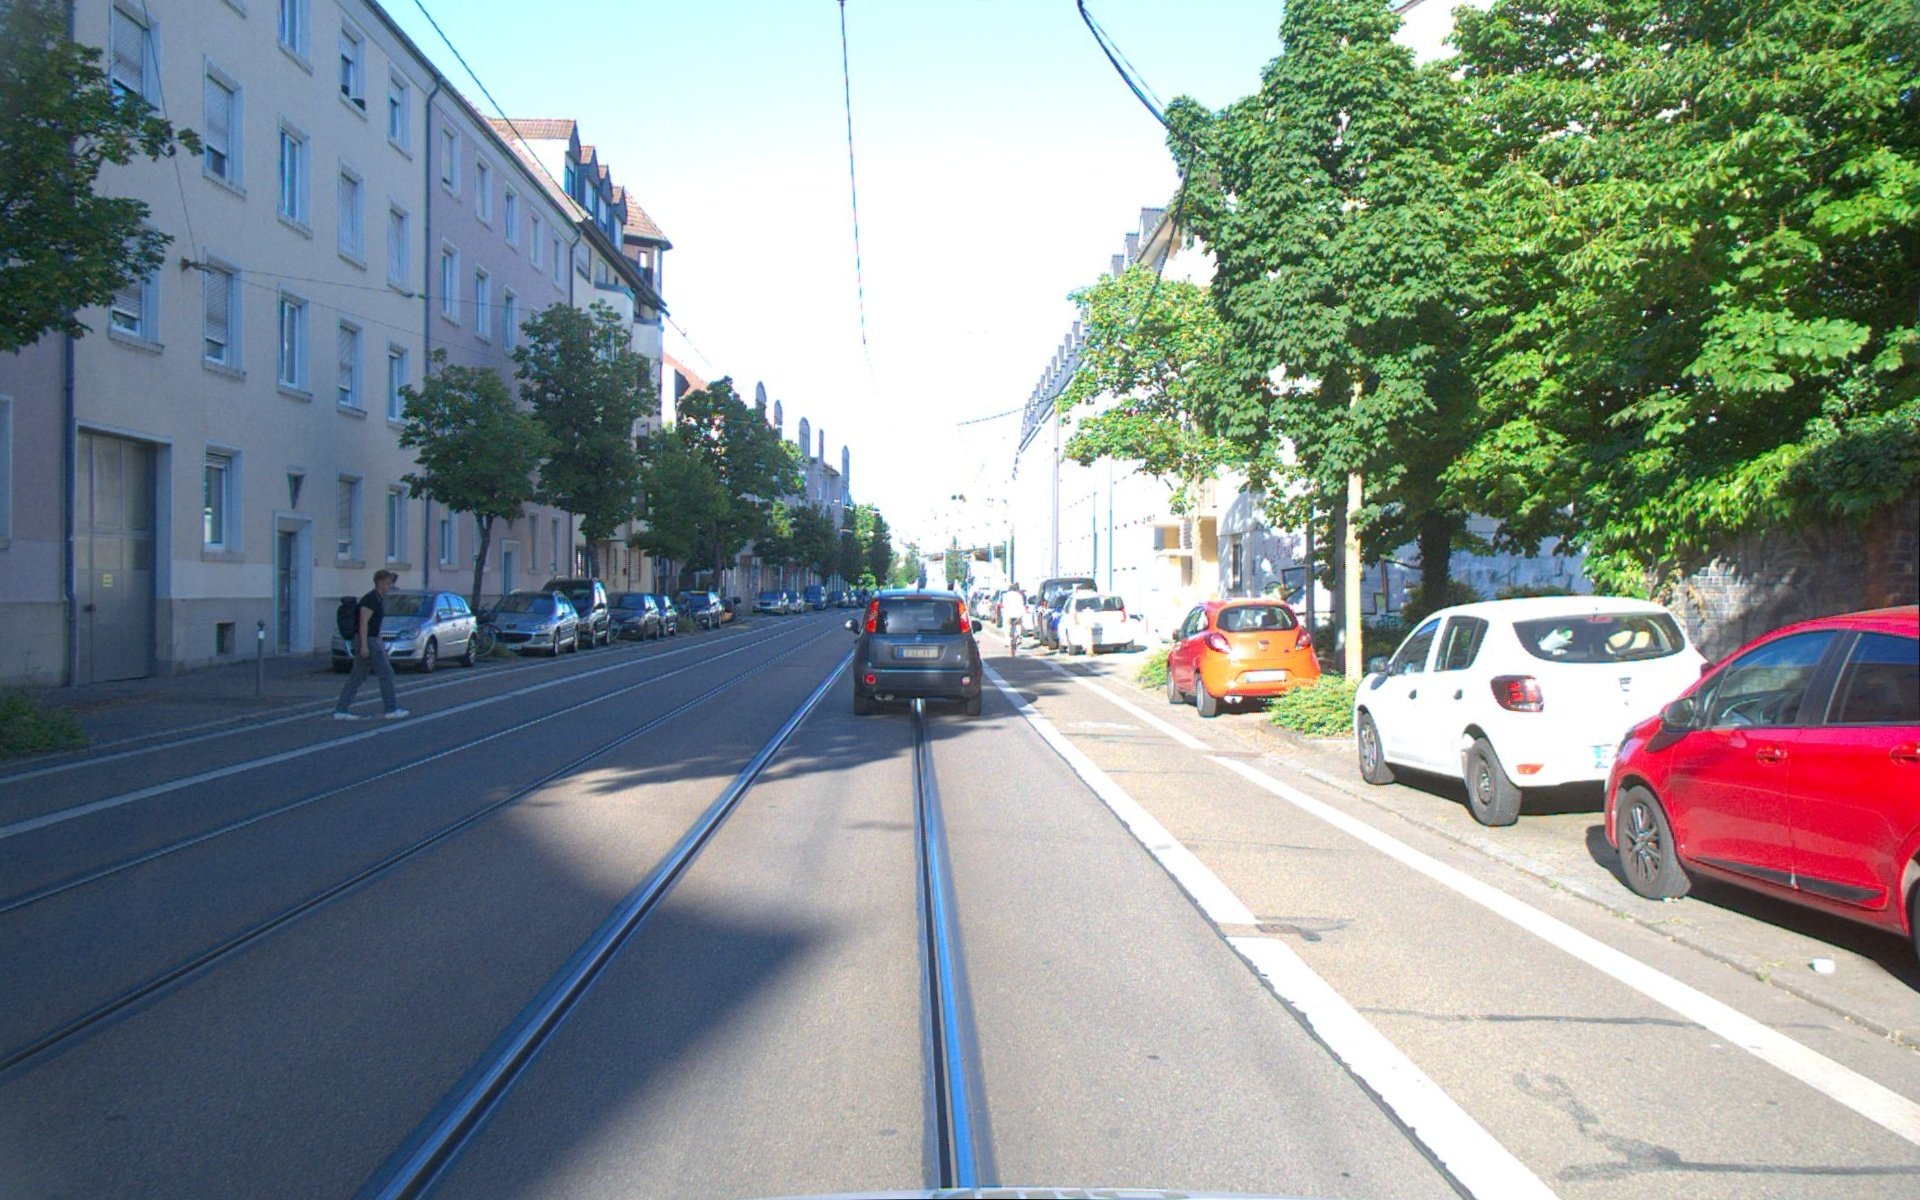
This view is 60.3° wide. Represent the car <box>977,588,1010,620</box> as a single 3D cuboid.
[{"bbox_3d":[1.807,0.206,90.211,1.551,1.627,3.375,1,0,-3],"label":"car"}]

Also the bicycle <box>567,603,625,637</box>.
[{"bbox_3d":[-10.786,0.593,48.977,1.600,0.953,0.516,1,0,-6],"label":"bicycle"}]

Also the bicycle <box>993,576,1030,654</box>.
[{"bbox_3d":[1.214,0.330,39.188,0.661,1.777,2.156,1,0,-3],"label":"bicycle"}]

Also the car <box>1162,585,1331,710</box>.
[{"bbox_3d":[3.866,0.599,22.811,1.602,1.534,3.396,-2,0,-2],"label":"car"}]

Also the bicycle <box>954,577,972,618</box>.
[{"bbox_3d":[0.165,-0.121,83.832,0.727,2.049,2.810,1,0,-3],"label":"bicycle"}]

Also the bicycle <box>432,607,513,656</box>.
[{"bbox_3d":[-10.586,0.685,35.947,1.637,1.019,0.475,1,0,-13],"label":"bicycle"}]

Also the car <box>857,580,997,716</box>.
[{"bbox_3d":[-0.467,0.549,21.629,1.617,1.568,4.233,1,0,-2],"label":"car"}]

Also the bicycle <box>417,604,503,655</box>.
[{"bbox_3d":[-10.517,0.622,34.823,1.632,1.019,0.476,1,0,1],"label":"bicycle"}]

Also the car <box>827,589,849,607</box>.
[{"bbox_3d":[-10.823,-0.180,146.996,1.672,1.523,3.721,1,0,-1],"label":"car"}]

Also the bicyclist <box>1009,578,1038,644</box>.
[{"bbox_3d":[1.747,0.293,45.500,0.685,1.790,0.757,1,0,-3],"label":"bicyclist"}]

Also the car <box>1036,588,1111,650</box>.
[{"bbox_3d":[3.102,0.497,45.800,1.622,1.598,3.874,1,0,-2],"label":"car"}]

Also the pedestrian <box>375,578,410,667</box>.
[{"bbox_3d":[-12.036,0.468,35.108,0.525,1.858,0.542,1,0,-2],"label":"pedestrian"}]

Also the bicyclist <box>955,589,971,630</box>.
[{"bbox_3d":[0.144,0.471,83.934,0.701,2.049,0.831,1,0,-3],"label":"bicyclist"}]

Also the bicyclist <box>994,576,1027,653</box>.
[{"bbox_3d":[1.195,0.335,39.193,0.685,1.790,0.757,1,0,-3],"label":"bicyclist"}]

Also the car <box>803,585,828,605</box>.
[{"bbox_3d":[-11.467,-0.435,131.222,1.672,1.523,3.721,1,0,-1],"label":"car"}]

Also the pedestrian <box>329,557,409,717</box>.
[{"bbox_3d":[-6.913,0.412,19.327,0.837,1.808,0.730,-1,1,-22],"label":"pedestrian"}]

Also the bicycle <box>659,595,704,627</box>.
[{"bbox_3d":[-11.083,0.452,65.868,1.695,1.217,0.372,1,0,-6],"label":"bicycle"}]

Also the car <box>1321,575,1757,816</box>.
[{"bbox_3d":[4.305,0.625,13.005,1.656,1.557,3.994,-1,0,-6],"label":"car"}]

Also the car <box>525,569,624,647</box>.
[{"bbox_3d":[-10.456,0.192,45.192,1.772,1.977,4.332,1,0,-2],"label":"car"}]

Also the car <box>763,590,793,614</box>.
[{"bbox_3d":[-12.318,0.133,112.166,1.672,1.523,3.721,1,0,-1],"label":"car"}]

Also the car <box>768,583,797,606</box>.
[{"bbox_3d":[-12.573,-0.384,117.211,1.672,1.523,3.721,1,0,-1],"label":"car"}]

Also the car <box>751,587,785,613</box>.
[{"bbox_3d":[-11.915,-0.026,102.722,1.672,1.523,3.721,1,0,-1],"label":"car"}]

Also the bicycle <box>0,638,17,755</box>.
[{"bbox_3d":[-9.806,0.873,15.270,1.885,1.064,0.476,1,0,-1],"label":"bicycle"}]

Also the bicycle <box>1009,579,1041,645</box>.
[{"bbox_3d":[1.783,0.314,45.466,0.661,1.777,2.156,1,0,-3],"label":"bicycle"}]

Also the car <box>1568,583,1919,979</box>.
[{"bbox_3d":[4.540,0.706,7.747,1.656,1.557,3.997,-1,0,-4],"label":"car"}]

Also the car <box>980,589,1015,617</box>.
[{"bbox_3d":[1.930,0.146,85.885,1.551,1.430,3.375,1,0,-3],"label":"car"}]

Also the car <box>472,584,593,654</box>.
[{"bbox_3d":[-10.114,0.408,39.440,1.772,1.534,4.679,1,0,-2],"label":"car"}]

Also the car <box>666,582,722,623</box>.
[{"bbox_3d":[-10.965,0.100,68.329,1.798,1.583,3.998,1,0,-3],"label":"car"}]

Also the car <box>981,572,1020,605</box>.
[{"bbox_3d":[1.865,-0.538,77.360,1.551,1.430,3.375,1,0,-3],"label":"car"}]

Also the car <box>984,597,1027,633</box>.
[{"bbox_3d":[1.940,0.619,71.820,1.551,1.429,3.375,-3,0,-3],"label":"car"}]

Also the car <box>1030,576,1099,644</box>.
[{"bbox_3d":[3.177,0.283,50.965,1.622,1.978,4.662,1,0,-2],"label":"car"}]

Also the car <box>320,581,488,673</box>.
[{"bbox_3d":[-10.185,0.450,30.616,1.772,1.534,4.189,1,0,-2],"label":"car"}]

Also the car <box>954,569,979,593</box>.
[{"bbox_3d":[0.452,-1.357,118.310,1.551,1.627,3.375,1,0,-3],"label":"car"}]

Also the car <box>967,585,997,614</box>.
[{"bbox_3d":[1.306,-0.047,98.225,1.551,1.627,3.375,1,0,-3],"label":"car"}]

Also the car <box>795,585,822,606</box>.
[{"bbox_3d":[-11.498,-0.316,125.597,1.672,1.523,3.721,1,0,-1],"label":"car"}]

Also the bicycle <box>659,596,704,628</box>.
[{"bbox_3d":[-11.027,0.466,65.456,1.695,1.217,0.372,1,0,-6],"label":"bicycle"}]

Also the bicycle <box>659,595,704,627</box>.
[{"bbox_3d":[-10.964,0.445,65.063,1.695,1.217,0.372,1,0,-6],"label":"bicycle"}]

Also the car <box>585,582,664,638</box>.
[{"bbox_3d":[-10.616,0.293,52.528,1.772,1.648,4.063,1,0,-2],"label":"car"}]

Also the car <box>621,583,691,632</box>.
[{"bbox_3d":[-10.654,0.243,58.185,1.772,1.648,4.063,1,0,-2],"label":"car"}]

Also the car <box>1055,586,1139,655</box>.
[{"bbox_3d":[3.356,0.477,40.979,1.622,1.598,3.497,1,0,-2],"label":"car"}]

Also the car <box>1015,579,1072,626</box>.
[{"bbox_3d":[2.802,0.068,56.180,1.622,1.526,3.128,1,0,-2],"label":"car"}]
